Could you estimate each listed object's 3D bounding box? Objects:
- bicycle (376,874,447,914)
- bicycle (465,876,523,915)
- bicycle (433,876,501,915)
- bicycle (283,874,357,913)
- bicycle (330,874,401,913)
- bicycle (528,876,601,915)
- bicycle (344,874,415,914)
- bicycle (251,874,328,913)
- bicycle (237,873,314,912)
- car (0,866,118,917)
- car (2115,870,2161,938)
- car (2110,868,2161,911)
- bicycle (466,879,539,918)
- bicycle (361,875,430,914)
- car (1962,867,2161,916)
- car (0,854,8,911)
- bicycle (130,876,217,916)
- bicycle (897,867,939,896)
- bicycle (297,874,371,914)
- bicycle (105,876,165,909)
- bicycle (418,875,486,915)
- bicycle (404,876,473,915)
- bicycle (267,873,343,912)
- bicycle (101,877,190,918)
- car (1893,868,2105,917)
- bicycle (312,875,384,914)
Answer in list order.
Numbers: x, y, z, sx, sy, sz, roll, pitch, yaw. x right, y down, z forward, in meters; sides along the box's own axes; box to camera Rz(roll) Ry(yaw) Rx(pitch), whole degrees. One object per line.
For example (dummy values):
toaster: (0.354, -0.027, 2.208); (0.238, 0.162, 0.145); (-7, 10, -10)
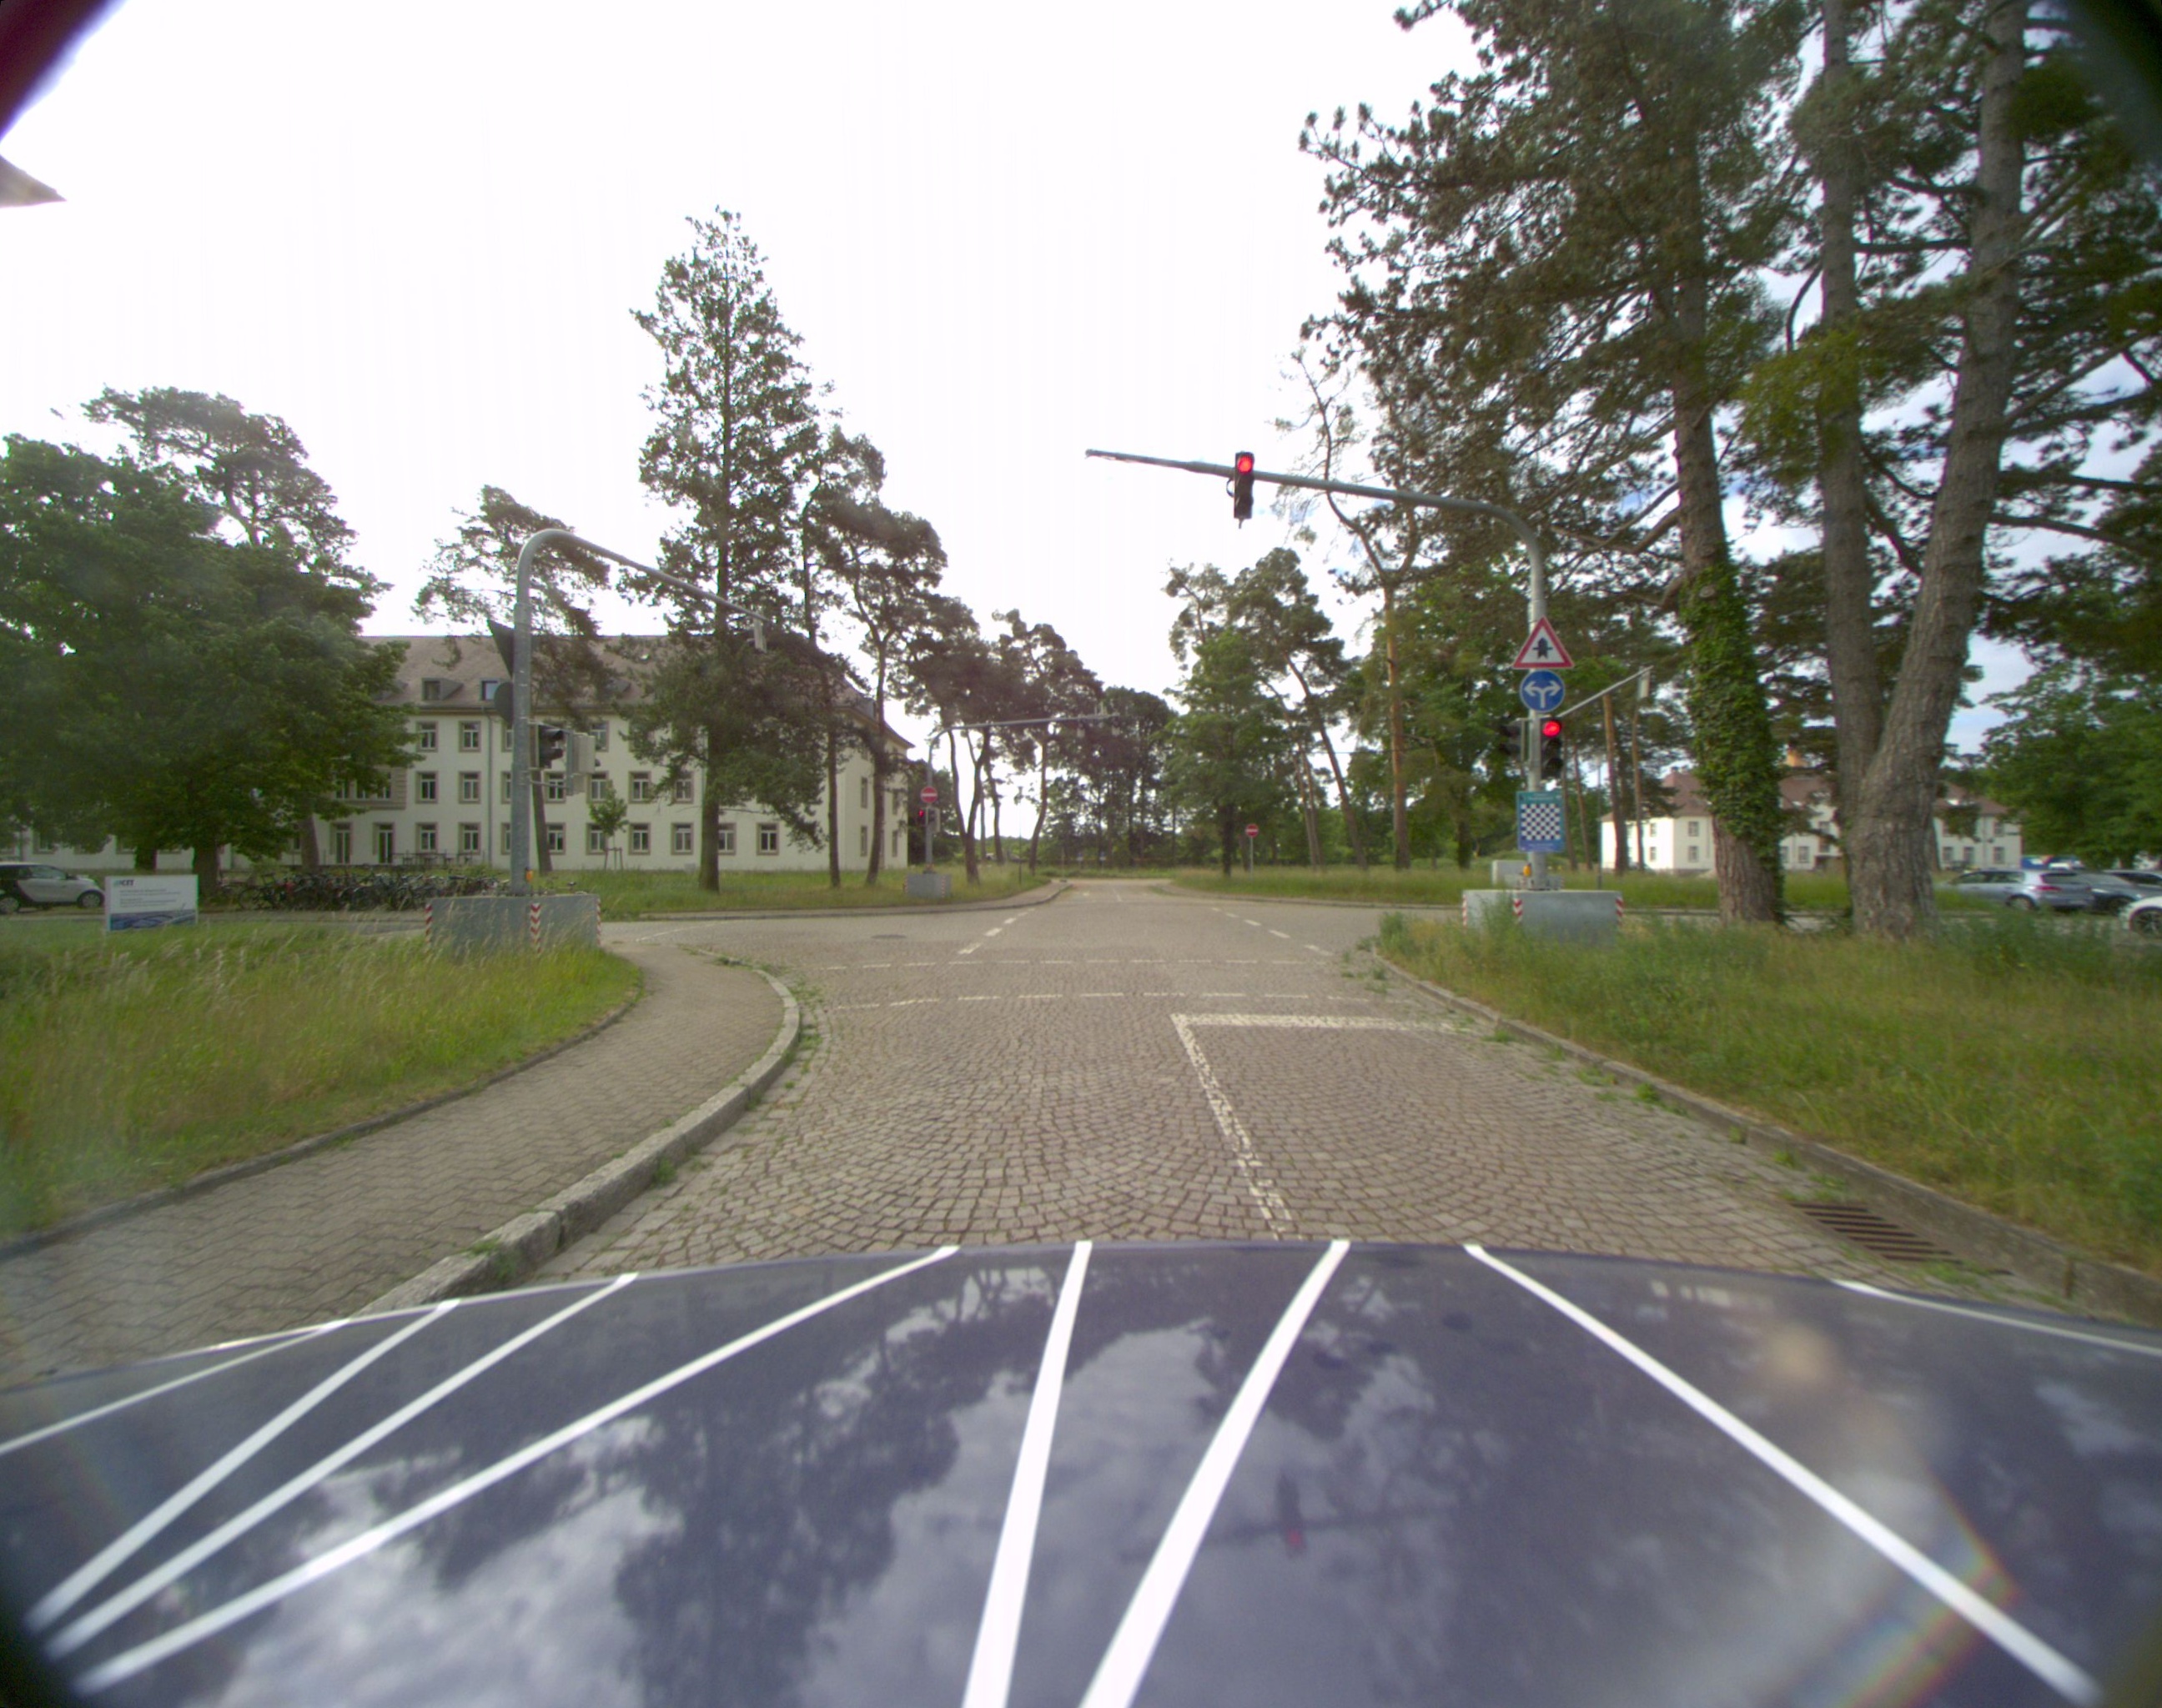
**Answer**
bicycle: (-20.380, 1.202, 23.175); (0.447, 1.121, 1.732); (0, 0, 10)
bicycle: (-17.989, 1.251, 23.312); (0.476, 1.121, 1.657); (0, 0, 1)
bicycle: (-18.618, 1.238, 23.093); (0.476, 1.121, 1.704); (0, 0, 10)
bicycle: (-23.424, 1.183, 23.421); (0.448, 1.121, 1.731); (0, 0, 5)
bicycle: (-21.919, 1.199, 23.308); (0.448, 1.121, 1.731); (0, 0, 5)
bicycle: (-14.759, 1.173, 21.743); (1.656, 1.079, 0.614); (0, 0, -2)
bicycle: (-21.437, 1.205, 23.266); (0.448, 1.121, 1.731); (0, 0, 5)
bicycle: (-24.388, 1.189, 23.449); (0.448, 1.121, 1.731); (0, 0, 5)
bicycle: (-24.826, 1.163, 23.463); (0.448, 1.121, 1.731); (0, 0, 5)
car: (-32.535, 1.138, 23.780); (1.344, 1.461, 2.661); (0, 0, 1)
car: (23.455, 1.040, 14.391); (1.829, 1.417, 4.320); (0, 0, -1)
car: (38.532, 1.243, 25.567); (1.829, 1.466, 4.402); (0, 0, -1)
bicycle: (-16.462, 1.268, 21.640); (1.655, 1.079, 0.615); (0, 0, 3)
bicycle: (-20.928, 1.215, 23.233); (0.448, 1.121, 1.732); (0, 0, 5)
car: (33.211, 1.189, 25.631); (1.829, 1.466, 4.402); (0, 0, -1)
car: (-35.925, 0.922, 22.697); (2.012, 1.868, 4.381); (0, 0, -11)
bicycle: (-27.462, 1.260, 23.033); (0.448, 1.121, 1.731); (0, 0, 5)
bicycle: (-6.318, 1.062, 29.503); (0.613, 1.079, 1.660); (0, 0, 33)
bicycle: (-22.944, 1.207, 23.377); (0.448, 1.121, 1.731); (0, 0, 5)
bicycle: (-34.298, 1.396, 27.559); (0.478, 1.121, 1.598); (0, 0, -14)
bicycle: (-19.111, 1.228, 23.129); (0.447, 1.121, 1.703); (0, 0, 10)
bicycle: (-19.586, 1.242, 23.205); (0.447, 1.121, 1.732); (0, 0, 10)
bicycle: (-23.887, 1.172, 23.427); (0.448, 1.121, 1.731); (0, 0, 5)
bicycle: (-28.072, 1.282, 22.841); (0.448, 1.121, 1.731); (0, 0, 5)
car: (30.794, 1.226, 25.749); (1.829, 1.466, 4.402); (0, 0, -1)
bicycle: (-22.458, 1.218, 23.327); (0.448, 1.121, 1.731); (0, 0, 5)
